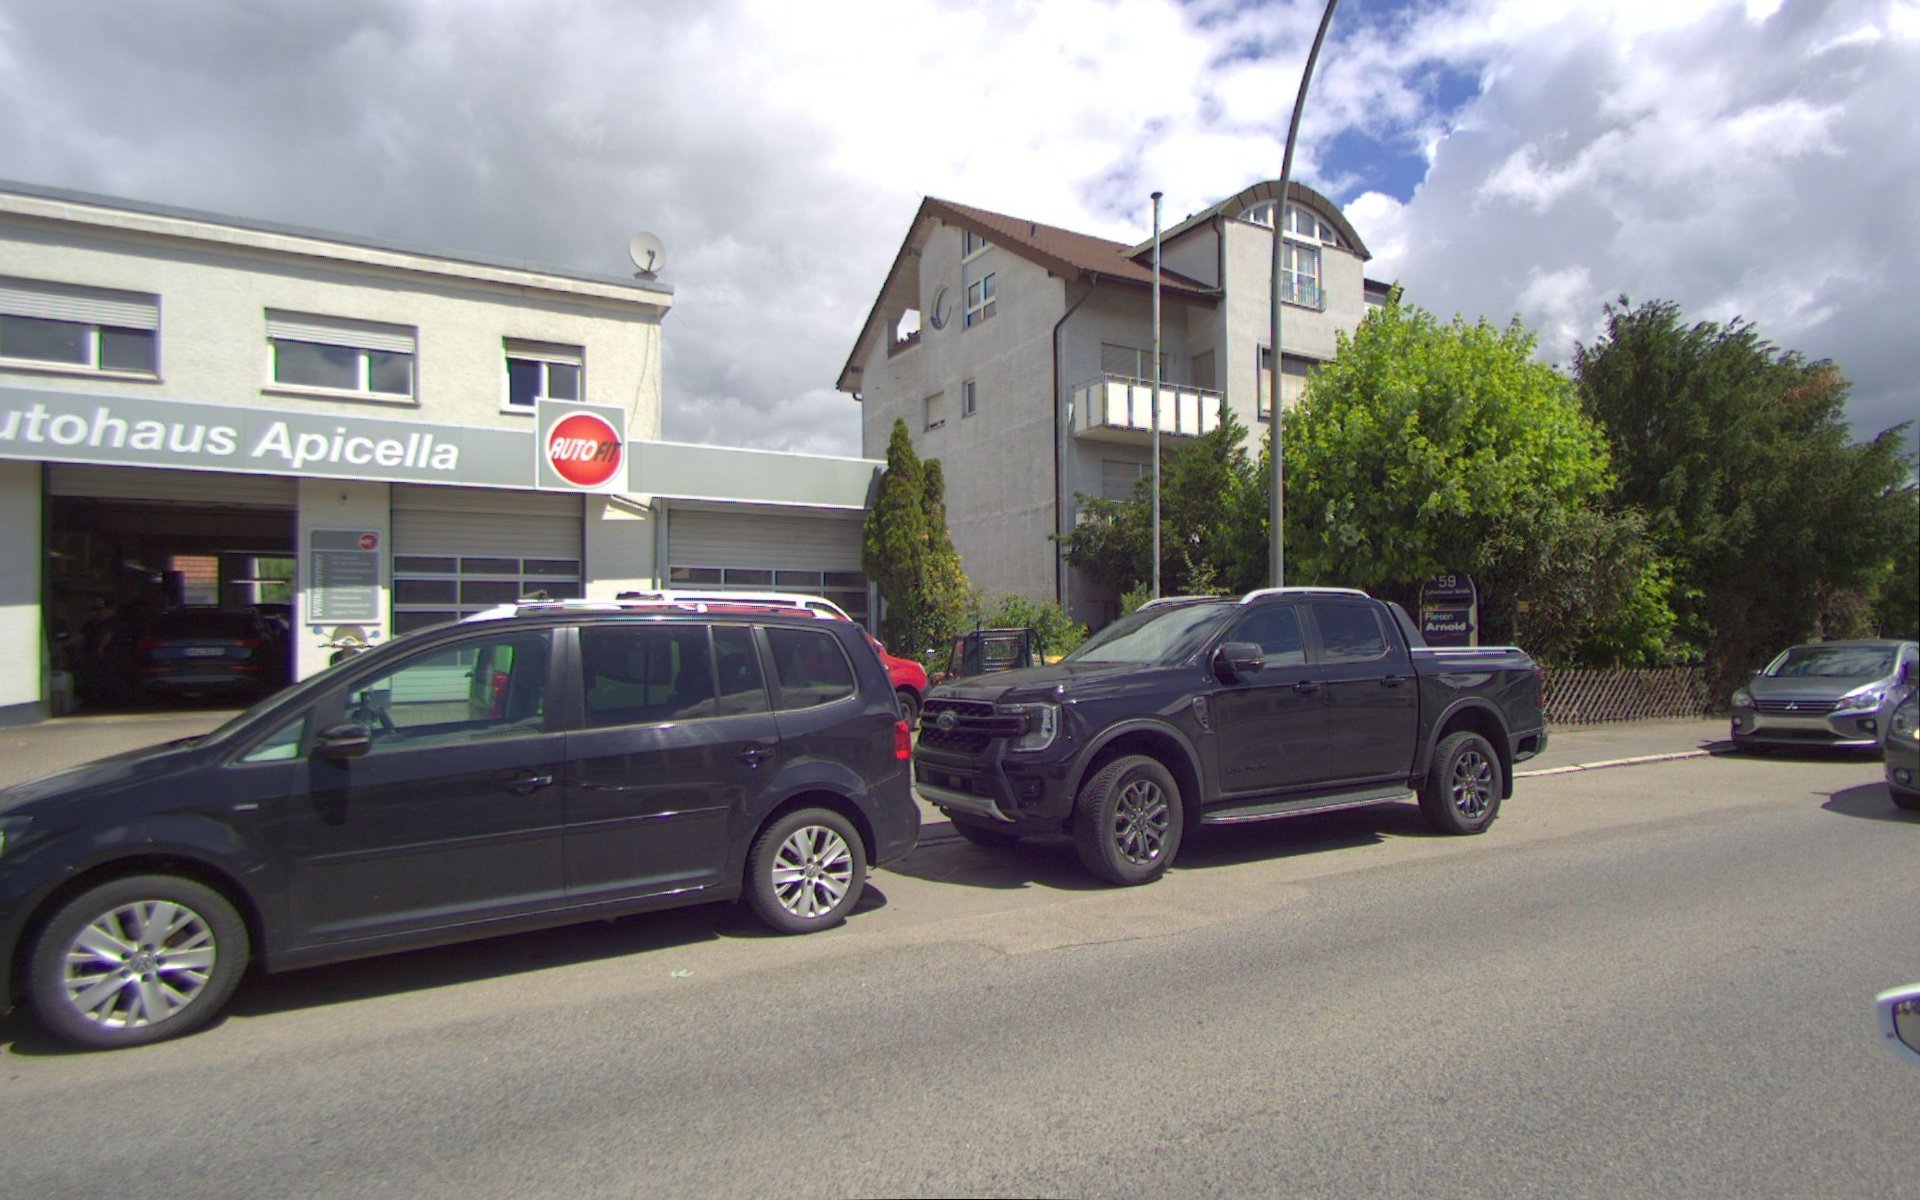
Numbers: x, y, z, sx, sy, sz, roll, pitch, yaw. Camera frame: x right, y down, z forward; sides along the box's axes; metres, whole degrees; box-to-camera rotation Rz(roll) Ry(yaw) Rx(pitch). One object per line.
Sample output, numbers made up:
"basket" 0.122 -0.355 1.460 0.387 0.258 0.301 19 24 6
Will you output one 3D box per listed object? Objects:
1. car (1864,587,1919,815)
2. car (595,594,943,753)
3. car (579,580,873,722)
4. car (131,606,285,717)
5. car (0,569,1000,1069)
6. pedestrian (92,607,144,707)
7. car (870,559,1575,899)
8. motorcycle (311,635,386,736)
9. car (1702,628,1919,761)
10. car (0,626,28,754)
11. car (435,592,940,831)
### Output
"car" 9.771 0.822 8.703 4.288 1.819 1.655 1 -3 -31
"car" -2.479 0.915 13.680 4.303 1.809 1.777 2 0 -40
"car" -3.703 0.798 16.420 4.310 2.006 1.858 3 -2 -44
"car" -13.003 0.965 17.588 1.850 1.639 3.963 1 0 -33
"car" -2.127 0.819 5.070 4.472 1.702 1.655 1 -4 -30
"pedestrian" -14.212 0.940 16.971 0.586 1.642 0.623 1 0 -34
"car" 2.160 0.825 7.662 5.365 1.844 1.903 1 -5 -30
"motorcycle" -8.767 1.167 14.419 0.838 1.246 2.186 1 0 -31
"car" 11.759 1.184 13.282 3.898 1.530 1.656 1 -5 -30
"car" -11.746 1.050 10.709 1.955 1.512 4.372 0 -1 -34
"car" -2.484 0.891 9.476 4.288 1.809 1.783 1 -1 -31
